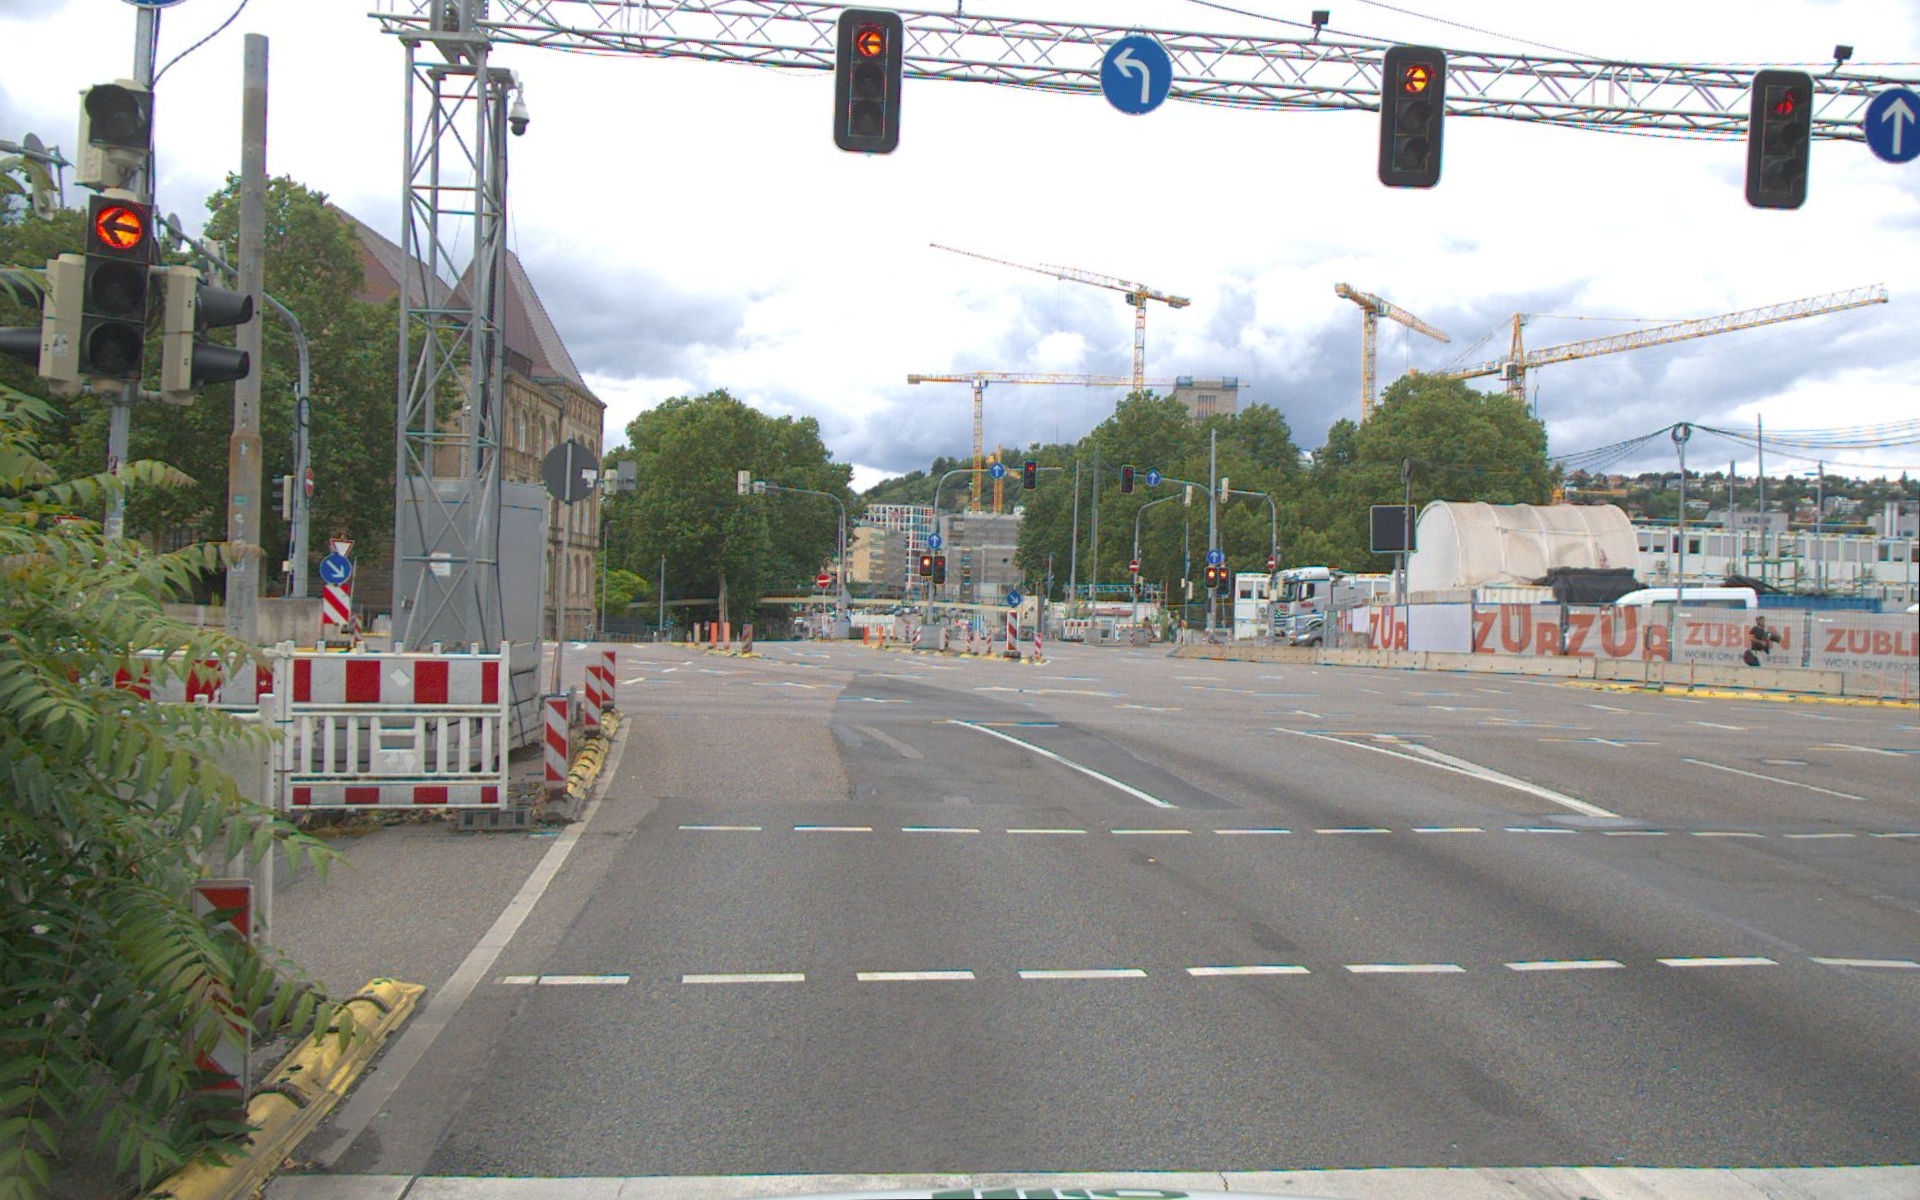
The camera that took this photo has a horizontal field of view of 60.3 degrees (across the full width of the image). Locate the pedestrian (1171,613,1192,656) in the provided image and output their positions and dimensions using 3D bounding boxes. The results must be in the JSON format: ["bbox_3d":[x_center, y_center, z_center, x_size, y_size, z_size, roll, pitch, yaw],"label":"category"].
[{"bbox_3d":[9.064,1.401,67.589,0.714,1.718,0.677,2,0,-1],"label":"pedestrian"}]

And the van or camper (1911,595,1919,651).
[{"bbox_3d":[53.405,1.276,87.721,5.190,2.962,1.994,1,0,-13],"label":"van or camper"}]

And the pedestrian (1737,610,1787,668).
[{"bbox_3d":[19.835,0.954,40.908,0.889,1.402,0.794,2,0,42],"label":"pedestrian"}]

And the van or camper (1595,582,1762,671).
[{"bbox_3d":[20.727,0.741,47.904,4.123,2.398,2.002,1,0,14],"label":"van or camper"}]

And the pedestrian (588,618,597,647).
[{"bbox_3d":[-26.190,2.345,117.848,0.513,2.049,0.566,1,0,-1],"label":"pedestrian"}]

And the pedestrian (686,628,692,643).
[{"bbox_3d":[-28.772,3.761,175.446,0.525,1.620,0.515,1,0,-5],"label":"pedestrian"}]

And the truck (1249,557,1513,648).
[{"bbox_3d":[20.995,0.162,82.313,12.837,4.111,3.927,1,0,-21],"label":"truck"}]

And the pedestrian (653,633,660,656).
[{"bbox_3d":[-28.159,4.117,153.467,0.513,2.049,0.566,1,0,-1],"label":"pedestrian"}]

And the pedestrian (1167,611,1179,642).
[{"bbox_3d":[12.079,1.517,93.920,0.555,1.718,0.471,2,0,-1],"label":"pedestrian"}]

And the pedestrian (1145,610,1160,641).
[{"bbox_3d":[10.918,1.428,93.938,0.714,1.718,0.677,2,0,-1],"label":"pedestrian"}]

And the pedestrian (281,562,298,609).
[{"bbox_3d":[-29.547,-0.625,72.884,0.523,2.049,0.421,2,0,-44],"label":"pedestrian"}]
